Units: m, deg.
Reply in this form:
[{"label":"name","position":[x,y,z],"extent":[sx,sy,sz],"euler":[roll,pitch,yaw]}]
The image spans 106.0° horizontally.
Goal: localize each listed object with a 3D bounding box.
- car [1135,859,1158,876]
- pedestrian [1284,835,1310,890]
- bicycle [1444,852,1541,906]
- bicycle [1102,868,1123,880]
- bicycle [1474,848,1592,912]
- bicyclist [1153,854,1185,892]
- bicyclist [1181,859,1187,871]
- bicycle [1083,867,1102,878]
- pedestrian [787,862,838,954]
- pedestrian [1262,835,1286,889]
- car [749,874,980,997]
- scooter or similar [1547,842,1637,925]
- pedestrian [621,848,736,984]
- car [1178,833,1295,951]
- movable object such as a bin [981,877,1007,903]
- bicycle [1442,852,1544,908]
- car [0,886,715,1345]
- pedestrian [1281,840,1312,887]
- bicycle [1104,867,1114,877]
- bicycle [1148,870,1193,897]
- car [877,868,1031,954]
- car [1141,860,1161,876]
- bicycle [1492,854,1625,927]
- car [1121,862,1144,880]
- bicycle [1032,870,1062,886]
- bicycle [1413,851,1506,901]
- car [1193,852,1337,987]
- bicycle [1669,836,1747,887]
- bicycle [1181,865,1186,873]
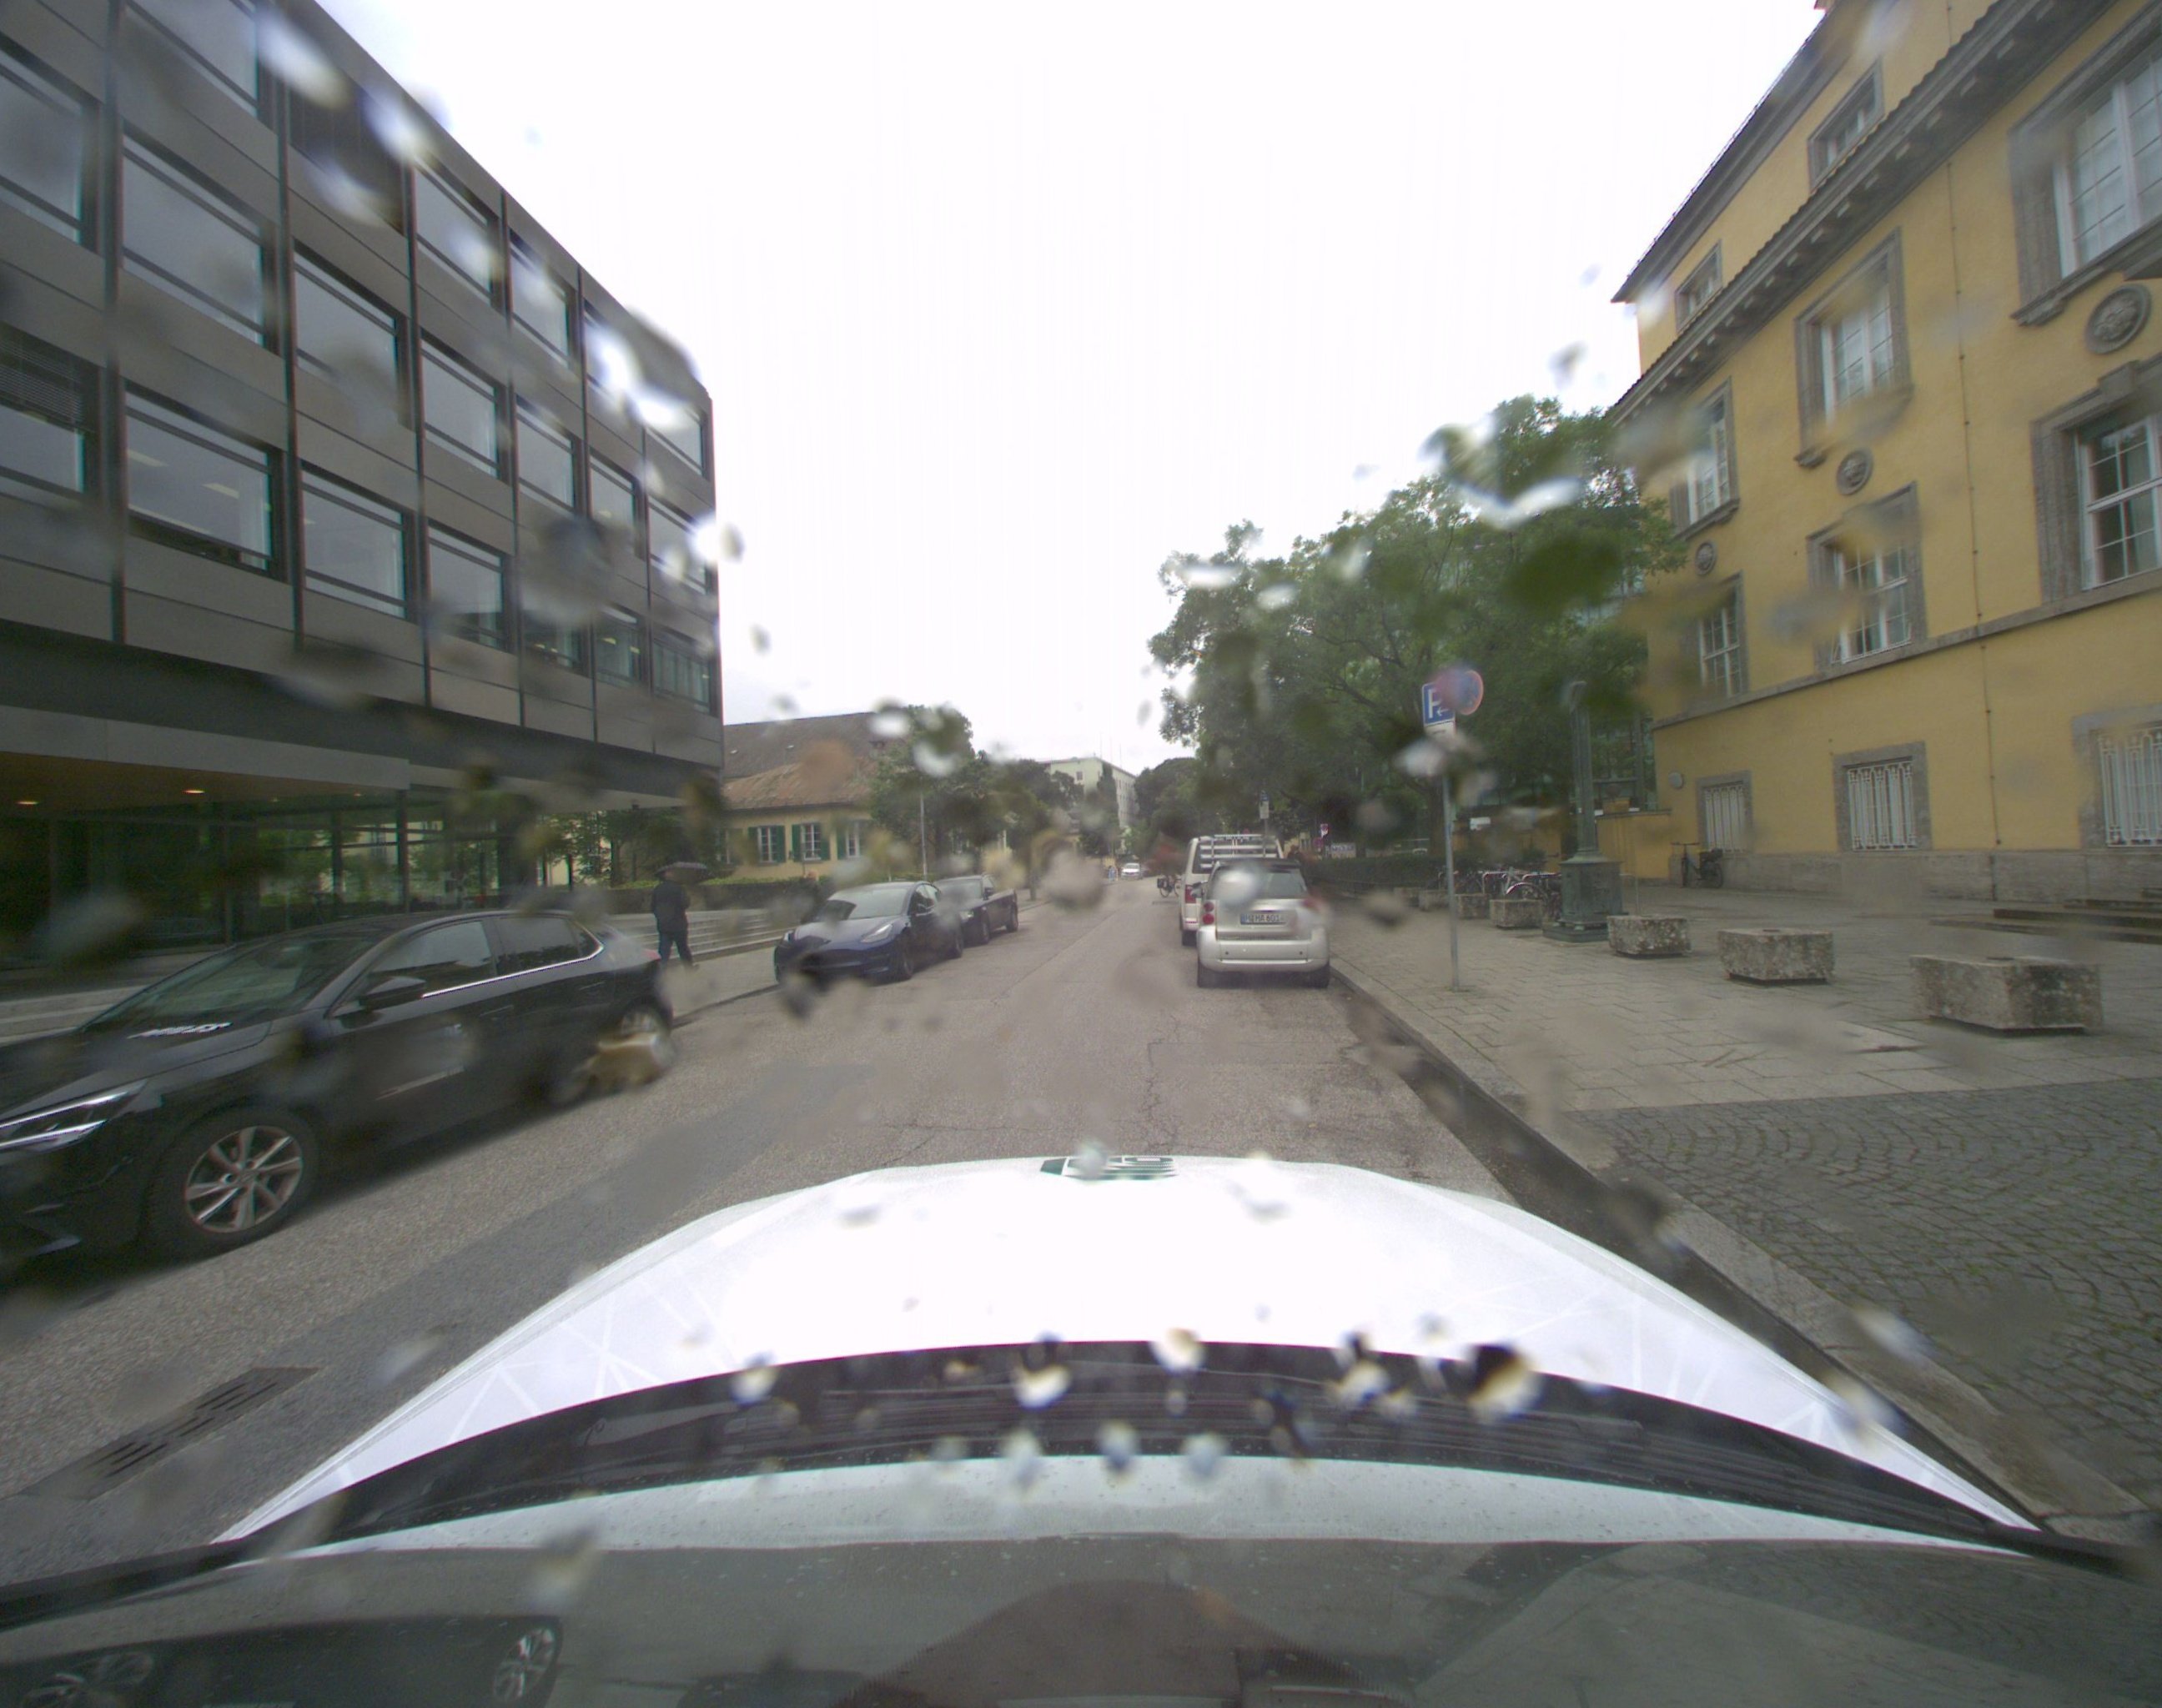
[{"label":"car","position":[6.992,1.422,86.487],"extent":[1.981,1.648,4.668],"euler":[-3,-1,10]},{"label":"pedestrian","position":[8.755,0.338,32.984],"extent":[0.738,2.135,1.058],"euler":[-4,-1,7]},{"label":"bicycle","position":[9.594,0.573,19.037],"extent":[1.920,1.113,0.472],"euler":[-4,-1,8]},{"label":"bicycle","position":[2.734,1.685,69.740],"extent":[0.615,1.004,2.153],"euler":[0,0,40]},{"label":"bicycle","position":[8.874,0.505,16.032],"extent":[1.920,1.113,0.472],"euler":[-4,-1,9]},{"label":"bicyclist","position":[3.579,0.782,33.095],"extent":[0.665,1.498,1.101],"euler":[-5,-3,42]},{"label":"bicyclist","position":[13.724,1.514,108.727],"extent":[0.739,1.576,0.978],"euler":[-3,-1,5]},{"label":"bicycle","position":[1.062,1.730,74.379],"extent":[1.617,0.926,0.647],"euler":[-2,-2,-18]},{"label":"pedestrian","position":[-5.368,1.059,16.343],"extent":[0.752,1.749,0.950],"euler":[-3,-1,-9]},{"label":"pedestrian","position":[7.925,0.337,33.489],"extent":[0.738,2.135,1.058],"euler":[-4,-1,7]},{"label":"car","position":[-3.186,1.143,13.240],"extent":[1.913,1.439,4.925],"euler":[-5,-1,6]},{"label":"scooter or similar","position":[8.034,0.471,12.822],"extent":[0.540,1.222,1.000],"euler":[-3,-1,-38]},{"label":"pedestrian","position":[-6.378,0.950,12.984],"extent":[1.129,2.055,1.223],"euler":[-2,-1,6]},{"label":"car","position":[2.860,0.641,16.000],"extent":[1.835,1.933,5.282],"euler":[0,0,6]},{"label":"movable object such as a bin","position":[-3.882,1.614,36.416],"extent":[0.930,1.063,0.841],"euler":[-3,0,5]},{"label":"bicycle","position":[9.228,0.591,18.283],"extent":[1.920,1.113,0.472],"euler":[-4,-1,9]},{"label":"car","position":[-4.371,1.074,5.007],"extent":[1.730,1.461,4.247],"euler":[-5,-1,9]},{"label":"pedestrian","position":[9.052,0.387,34.171],"extent":[0.735,1.907,1.062],"euler":[-5,-2,43]},{"label":"bicycle","position":[2.966,1.866,86.102],"extent":[0.617,1.004,1.624],"euler":[-3,-2,13]},{"label":"bicycle","position":[3.656,1.191,33.150],"extent":[0.615,1.004,2.153],"euler":[-5,-3,41]},{"label":"car","position":[-2.674,1.173,18.489],"extent":[1.982,1.491,4.894],"euler":[-4,-1,8]},{"label":"car","position":[7.897,1.579,91.510],"extent":[1.982,1.603,4.009],"euler":[-3,-2,9]},{"label":"bicycle","position":[8.244,0.624,14.099],"extent":[1.923,1.113,0.472],"euler":[-4,-1,4]},{"label":"car","position":[4.712,1.487,74.055],"extent":[1.723,1.581,3.798],"euler":[0,0,10]},{"label":"bicycle","position":[-2.296,1.621,55.324],"extent":[1.918,1.099,0.616],"euler":[-1,-1,10]},{"label":"bicycle","position":[9.526,0.560,20.548],"extent":[2.022,1.113,0.472],"euler":[-4,-1,4]},{"label":"car","position":[2.330,0.774,10.914],"extent":[1.597,1.546,2.940],"euler":[-1,0,7]},{"label":"bicycle","position":[15.075,0.170,19.641],"extent":[0.539,1.154,1.905],"euler":[-4,0,6]},{"label":"bicycle","position":[13.720,1.977,108.657],"extent":[0.618,1.004,2.144],"euler":[-3,-1,7]}]
